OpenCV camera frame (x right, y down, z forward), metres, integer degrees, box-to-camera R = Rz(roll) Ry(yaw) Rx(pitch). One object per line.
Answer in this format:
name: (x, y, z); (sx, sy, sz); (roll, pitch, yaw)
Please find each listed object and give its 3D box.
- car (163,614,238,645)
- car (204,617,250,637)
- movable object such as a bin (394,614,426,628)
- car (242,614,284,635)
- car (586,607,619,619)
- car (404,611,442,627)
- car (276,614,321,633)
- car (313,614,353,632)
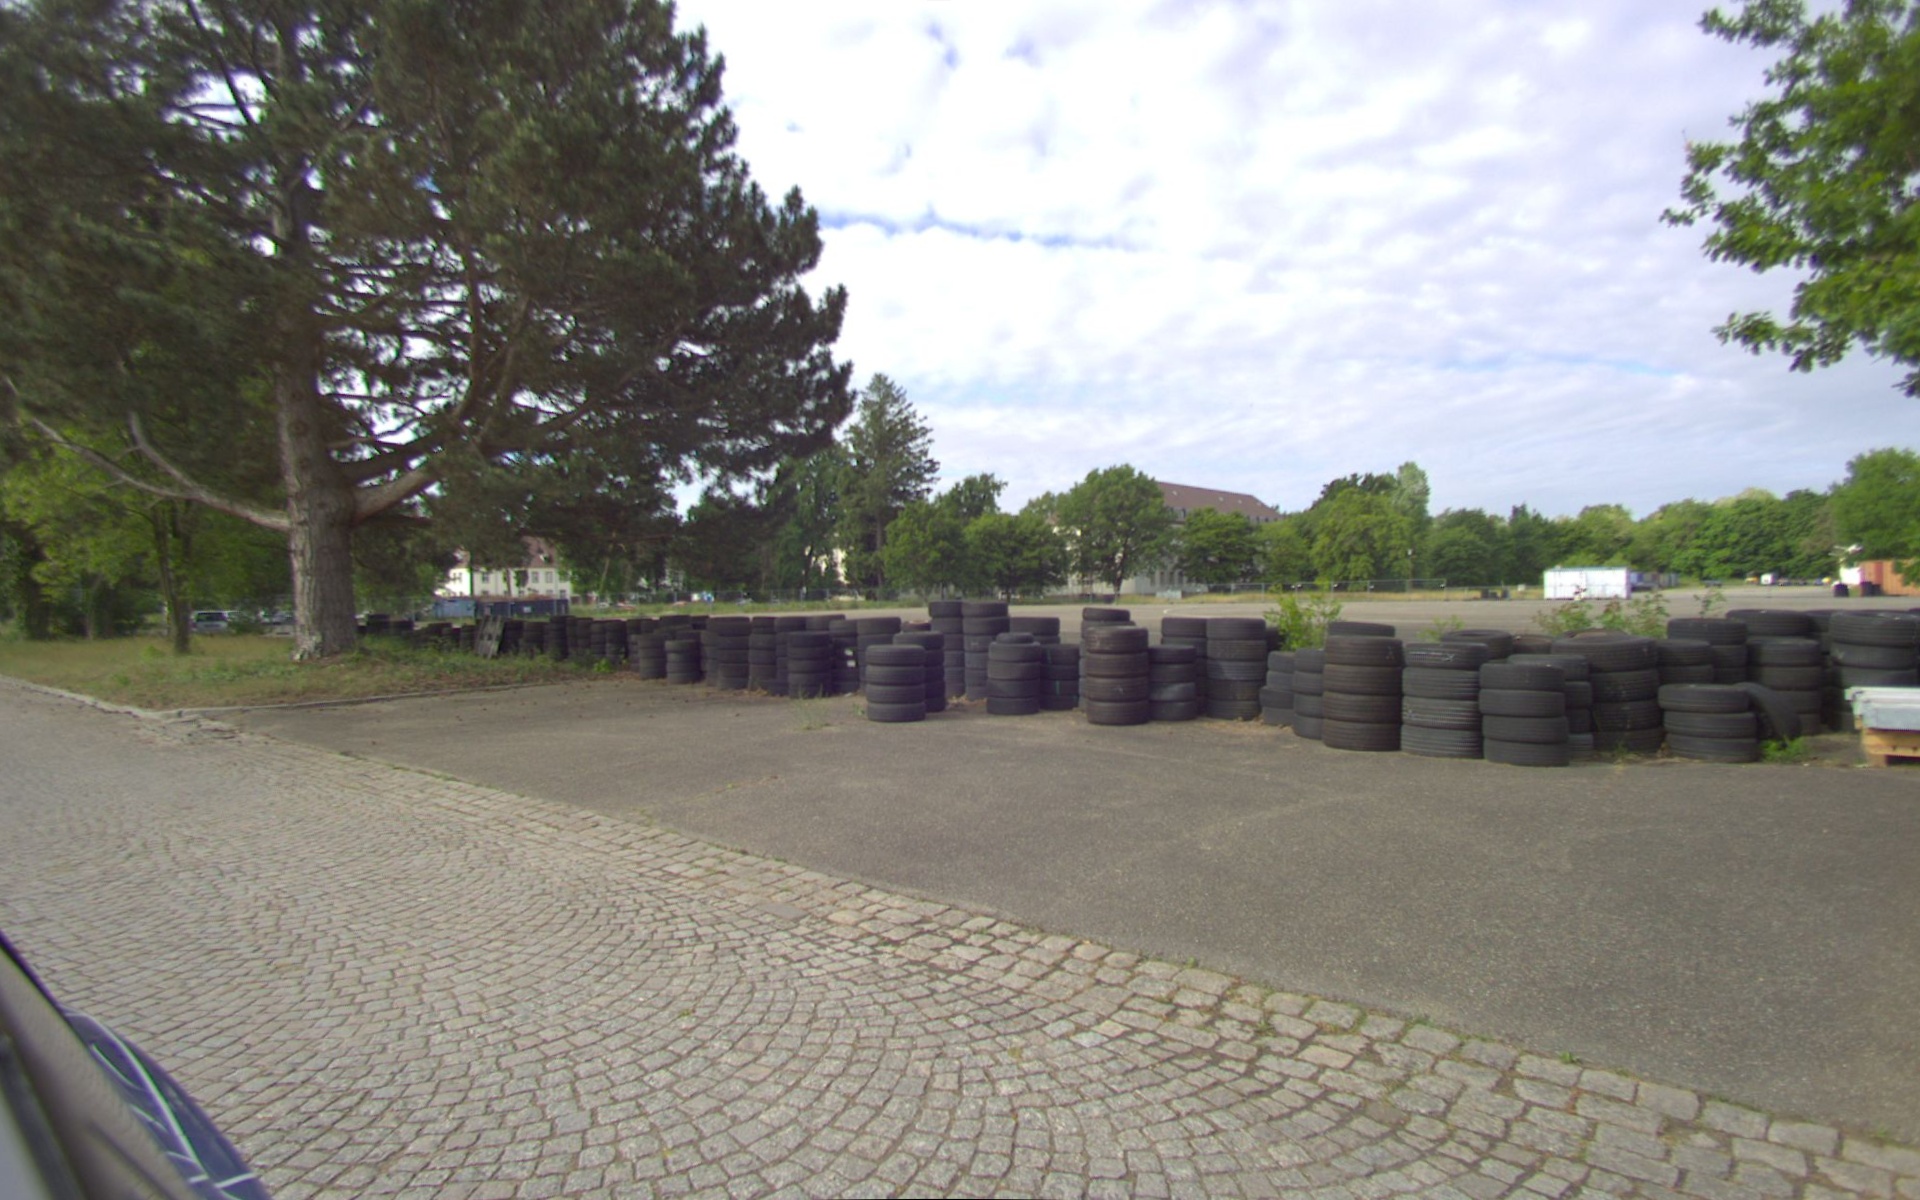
car: (-36.162, 1.412, 48.154); (4.415, 1.427, 1.807); (-2, -2, 38)
car: (-58.092, 2.130, 80.173); (4.314, 1.436, 1.807); (-2, 0, 38)
movable object such as a bin: (-43.061, 1.641, 79.202); (1.952, 0.976, 1.432); (-2, 0, 33)
car: (-56.544, 1.978, 82.104); (3.893, 1.531, 1.654); (-4, -1, 38)
car: (-41.565, 1.537, 117.610); (4.399, 1.361, 1.689); (-2, 0, 40)
car: (-54.466, 1.916, 102.657); (4.396, 1.486, 1.807); (-2, 0, 38)
car: (-55.179, 1.935, 84.379); (4.396, 1.486, 1.807); (-2, 0, 38)
car: (-53.773, 1.985, 86.810); (4.032, 1.410, 1.617); (-2, 0, 38)
